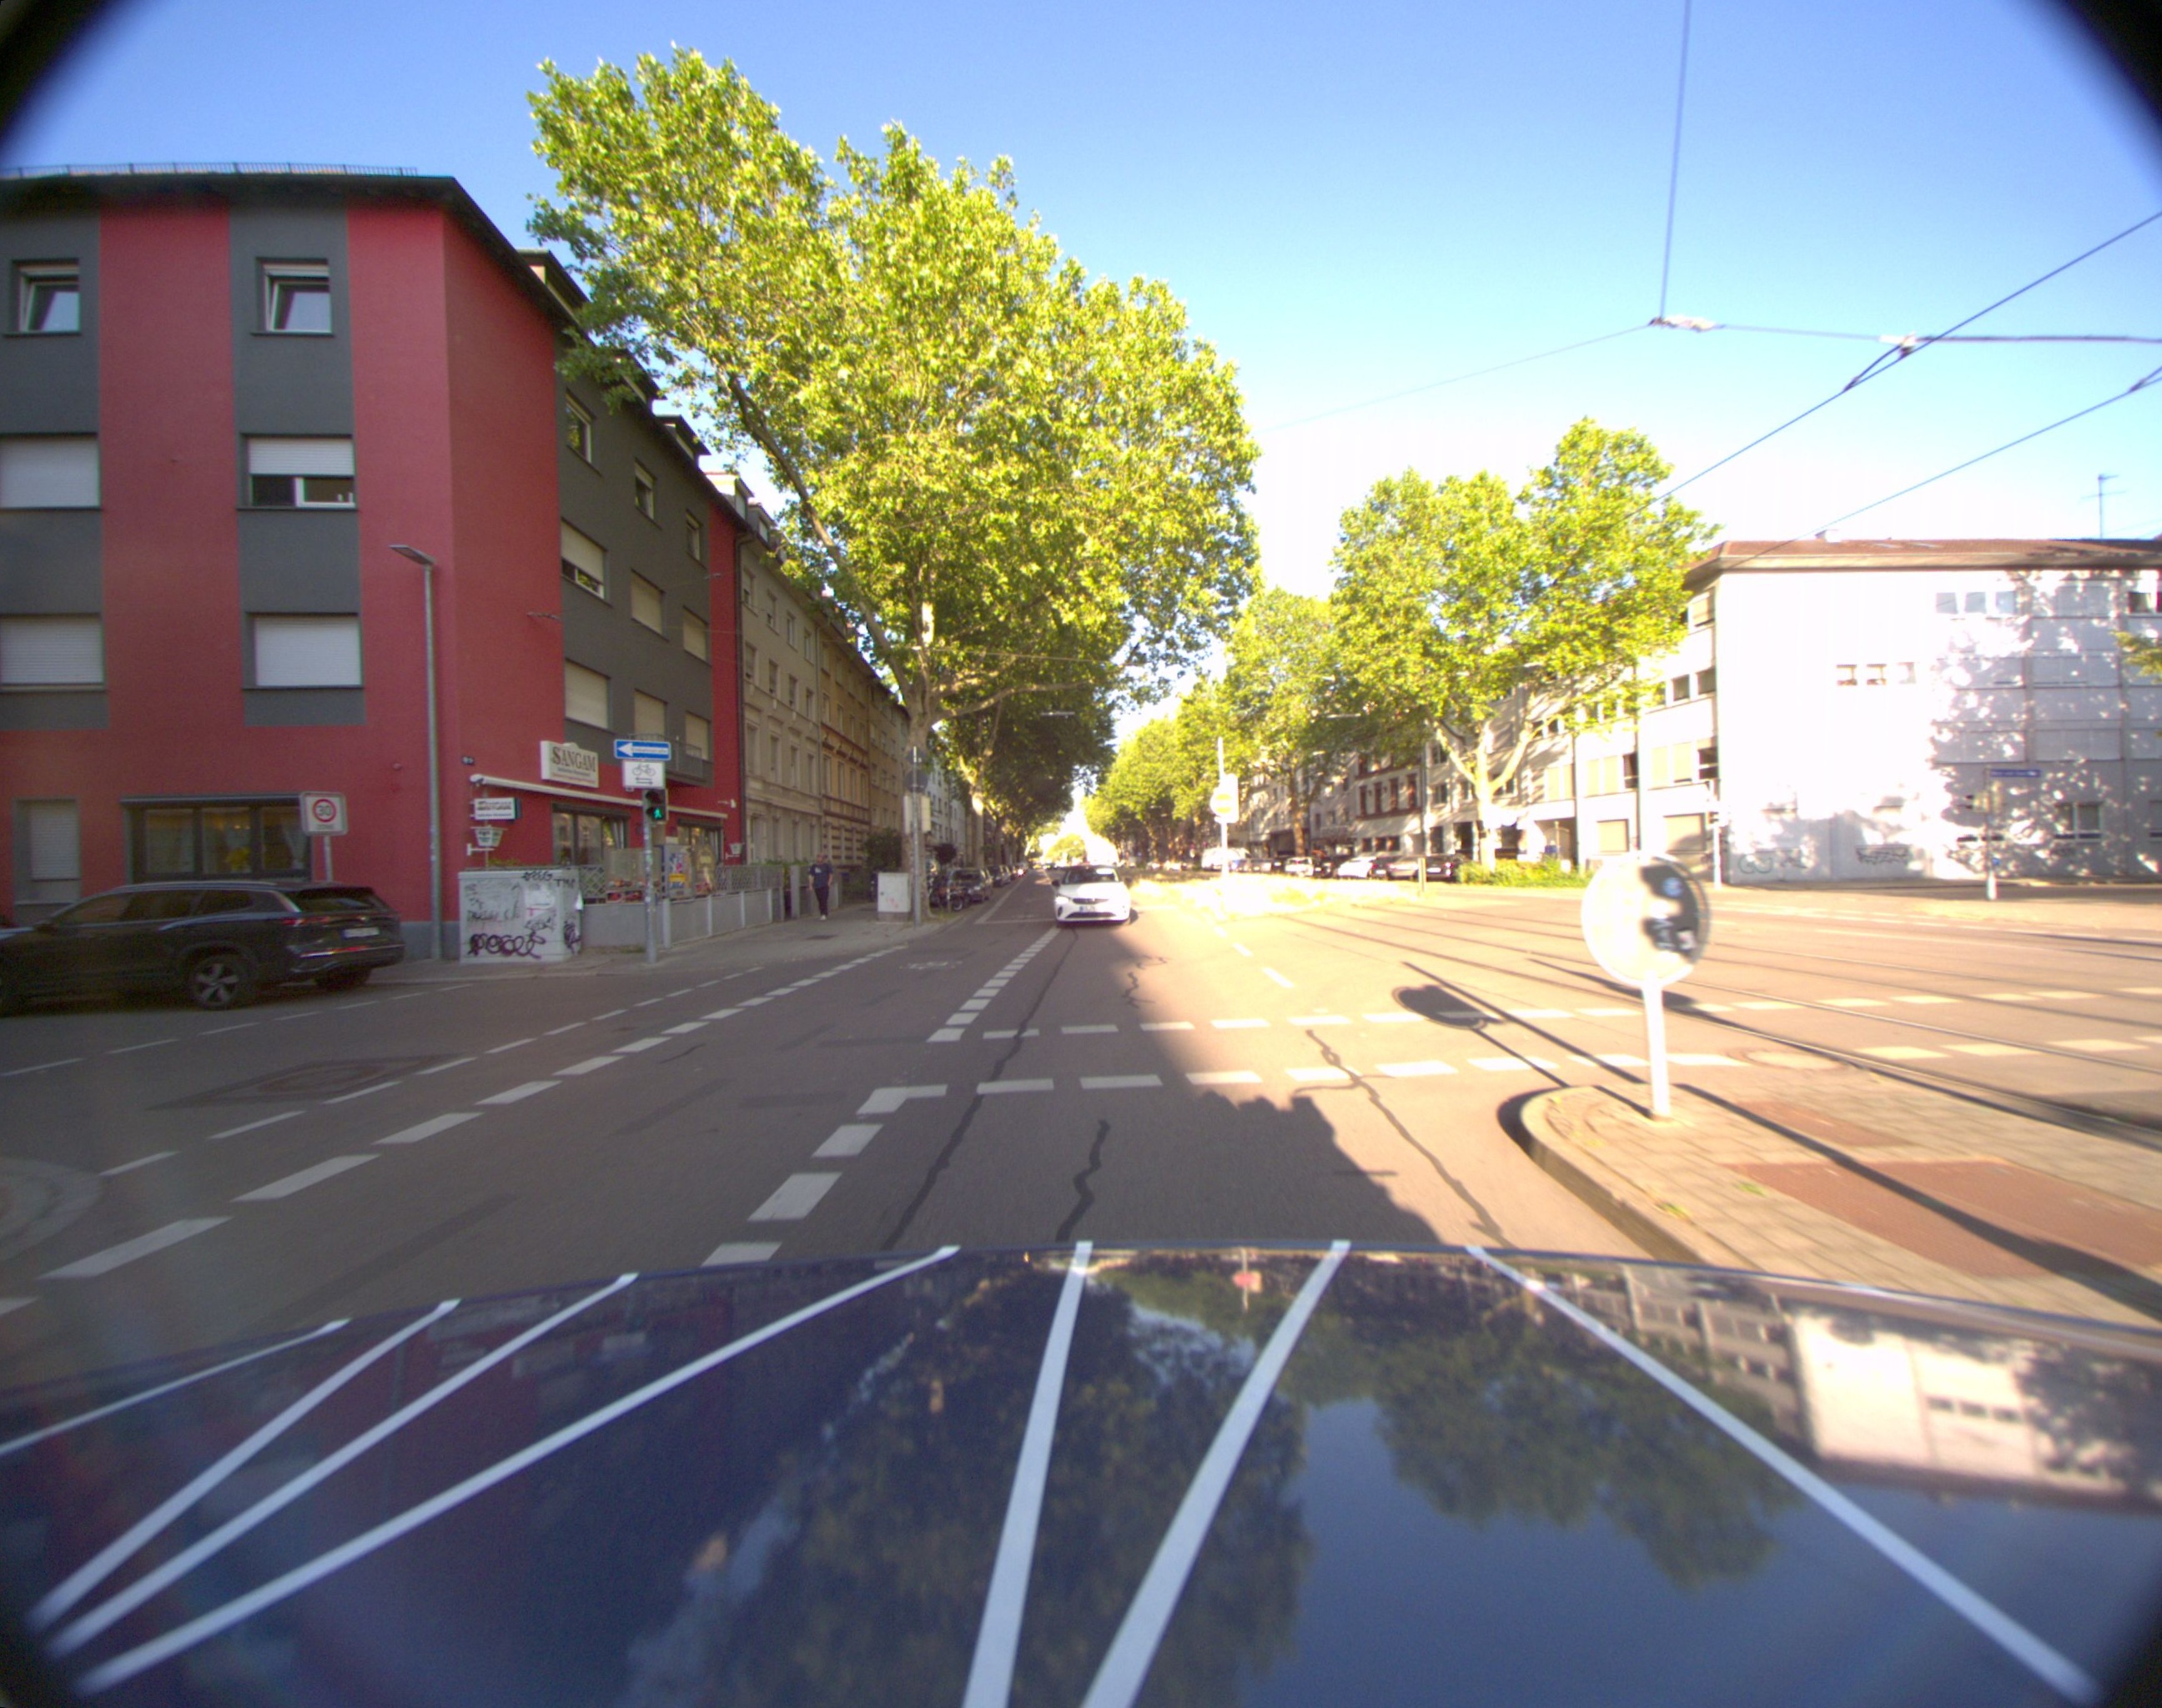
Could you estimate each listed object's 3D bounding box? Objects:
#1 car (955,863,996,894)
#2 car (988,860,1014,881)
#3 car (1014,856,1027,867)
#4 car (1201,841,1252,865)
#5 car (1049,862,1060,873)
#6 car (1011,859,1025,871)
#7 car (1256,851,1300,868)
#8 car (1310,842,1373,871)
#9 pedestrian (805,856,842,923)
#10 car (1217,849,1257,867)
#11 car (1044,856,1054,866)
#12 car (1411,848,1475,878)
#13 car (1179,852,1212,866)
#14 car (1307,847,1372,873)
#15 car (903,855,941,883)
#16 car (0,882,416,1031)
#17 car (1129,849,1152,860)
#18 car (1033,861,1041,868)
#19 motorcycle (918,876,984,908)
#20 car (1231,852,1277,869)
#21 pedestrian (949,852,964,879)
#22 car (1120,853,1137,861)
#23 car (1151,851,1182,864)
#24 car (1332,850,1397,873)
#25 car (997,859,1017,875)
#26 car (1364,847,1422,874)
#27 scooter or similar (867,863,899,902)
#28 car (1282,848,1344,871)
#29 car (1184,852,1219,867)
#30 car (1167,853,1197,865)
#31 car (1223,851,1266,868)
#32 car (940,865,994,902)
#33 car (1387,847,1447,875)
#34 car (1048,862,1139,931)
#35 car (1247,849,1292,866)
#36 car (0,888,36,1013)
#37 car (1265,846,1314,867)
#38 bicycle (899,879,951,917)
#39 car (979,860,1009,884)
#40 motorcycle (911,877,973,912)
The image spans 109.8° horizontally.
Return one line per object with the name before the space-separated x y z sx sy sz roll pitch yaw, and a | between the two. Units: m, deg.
car | -5.311 1.218 38.704 1.803 1.446 4.510 1 0 -4
car | -6.402 1.278 61.140 1.803 1.599 4.368 1 0 -3
car | -9.194 1.190 115.523 1.803 1.599 4.103 1 0 -3
car | 16.794 -0.115 87.680 5.620 2.684 2.175 -2 0 -27
car | -5.193 2.661 148.414 1.999 2.002 3.999 -3 1 -3
car | -8.542 1.515 102.792 1.803 1.599 4.103 1 0 -3
car | 17.597 0.485 67.791 4.265 1.451 1.598 -2 0 -38
car | 18.948 0.169 55.211 4.260 1.932 1.514 -2 0 -18
pedestrian | -6.768 0.922 19.994 0.728 1.701 0.815 1 1 -3
car | 17.447 0.452 85.007 4.006 1.805 1.995 -2 0 -30
car | -7.058 1.485 166.614 1.999 2.002 3.999 -3 1 -2
car | 18.857 0.444 39.528 1.767 1.423 3.979 -1 0 45
car | 15.493 0.726 103.071 4.006 1.805 1.995 -2 0 -30
car | 17.653 0.408 51.821 4.265 1.674 2.147 -2 0 -37
car | -11.040 1.014 53.028 1.934 1.864 4.676 1 0 -3
car | -12.084 1.311 10.328 4.353 1.677 1.772 -2 0 -3
car | 12.491 0.043 159.716 4.952 2.200 2.096 -2 0 -45
car | -12.895 2.978 222.180 1.998 1.850 4.000 -3 1 2
motorcycle | -4.648 1.349 27.264 2.217 1.104 0.663 1 -1 -30
car | 17.129 0.614 75.249 4.004 1.509 1.996 -2 0 -23
pedestrian | -7.451 0.686 45.509 0.728 1.571 0.701 -2 1 -3
car | 11.419 0.686 183.591 3.995 1.802 1.874 -2 0 7
car | 12.785 0.513 113.839 4.235 1.696 1.999 -2 0 -7
car | 18.132 0.470 48.534 4.266 1.369 2.147 -2 0 -43
car | -7.197 1.270 74.406 1.803 1.493 4.368 1 0 -3
car | 18.970 0.375 46.092 1.827 1.495 3.979 -1 0 45
scooter or similar | -7.997 1.118 30.768 0.666 1.461 2.544 -2 0 -2
car | 17.322 0.412 56.725 4.260 1.548 1.641 -2 0 -18
car | 15.836 0.708 99.813 4.006 1.805 1.995 -2 0 -30
car | 14.836 0.758 111.645 4.006 1.696 1.995 -2 0 -30
car | 16.881 0.525 78.367 4.006 1.608 1.995 -2 0 -30
car | -4.817 1.225 32.557 1.803 1.393 4.369 1 0 -2
car | 18.934 0.365 42.776 1.738 1.423 3.979 -3 -1 45
car | 0.196 0.943 18.509 1.866 1.394 3.931 -3 0 -3
car | 17.662 0.333 71.074 4.265 1.449 1.902 -2 0 -38
car | -17.326 1.410 9.913 4.615 1.730 1.772 -2 0 -3
car | 17.654 0.229 64.201 4.266 1.604 1.902 -2 0 -42
bicycle | -4.802 1.329 23.438 0.619 1.104 1.804 -1 -2 25
car | -6.098 1.216 53.722 1.803 1.599 4.368 1 0 -3
motorcycle | -4.576 1.311 25.133 0.783 1.104 1.895 -1 -2 45
